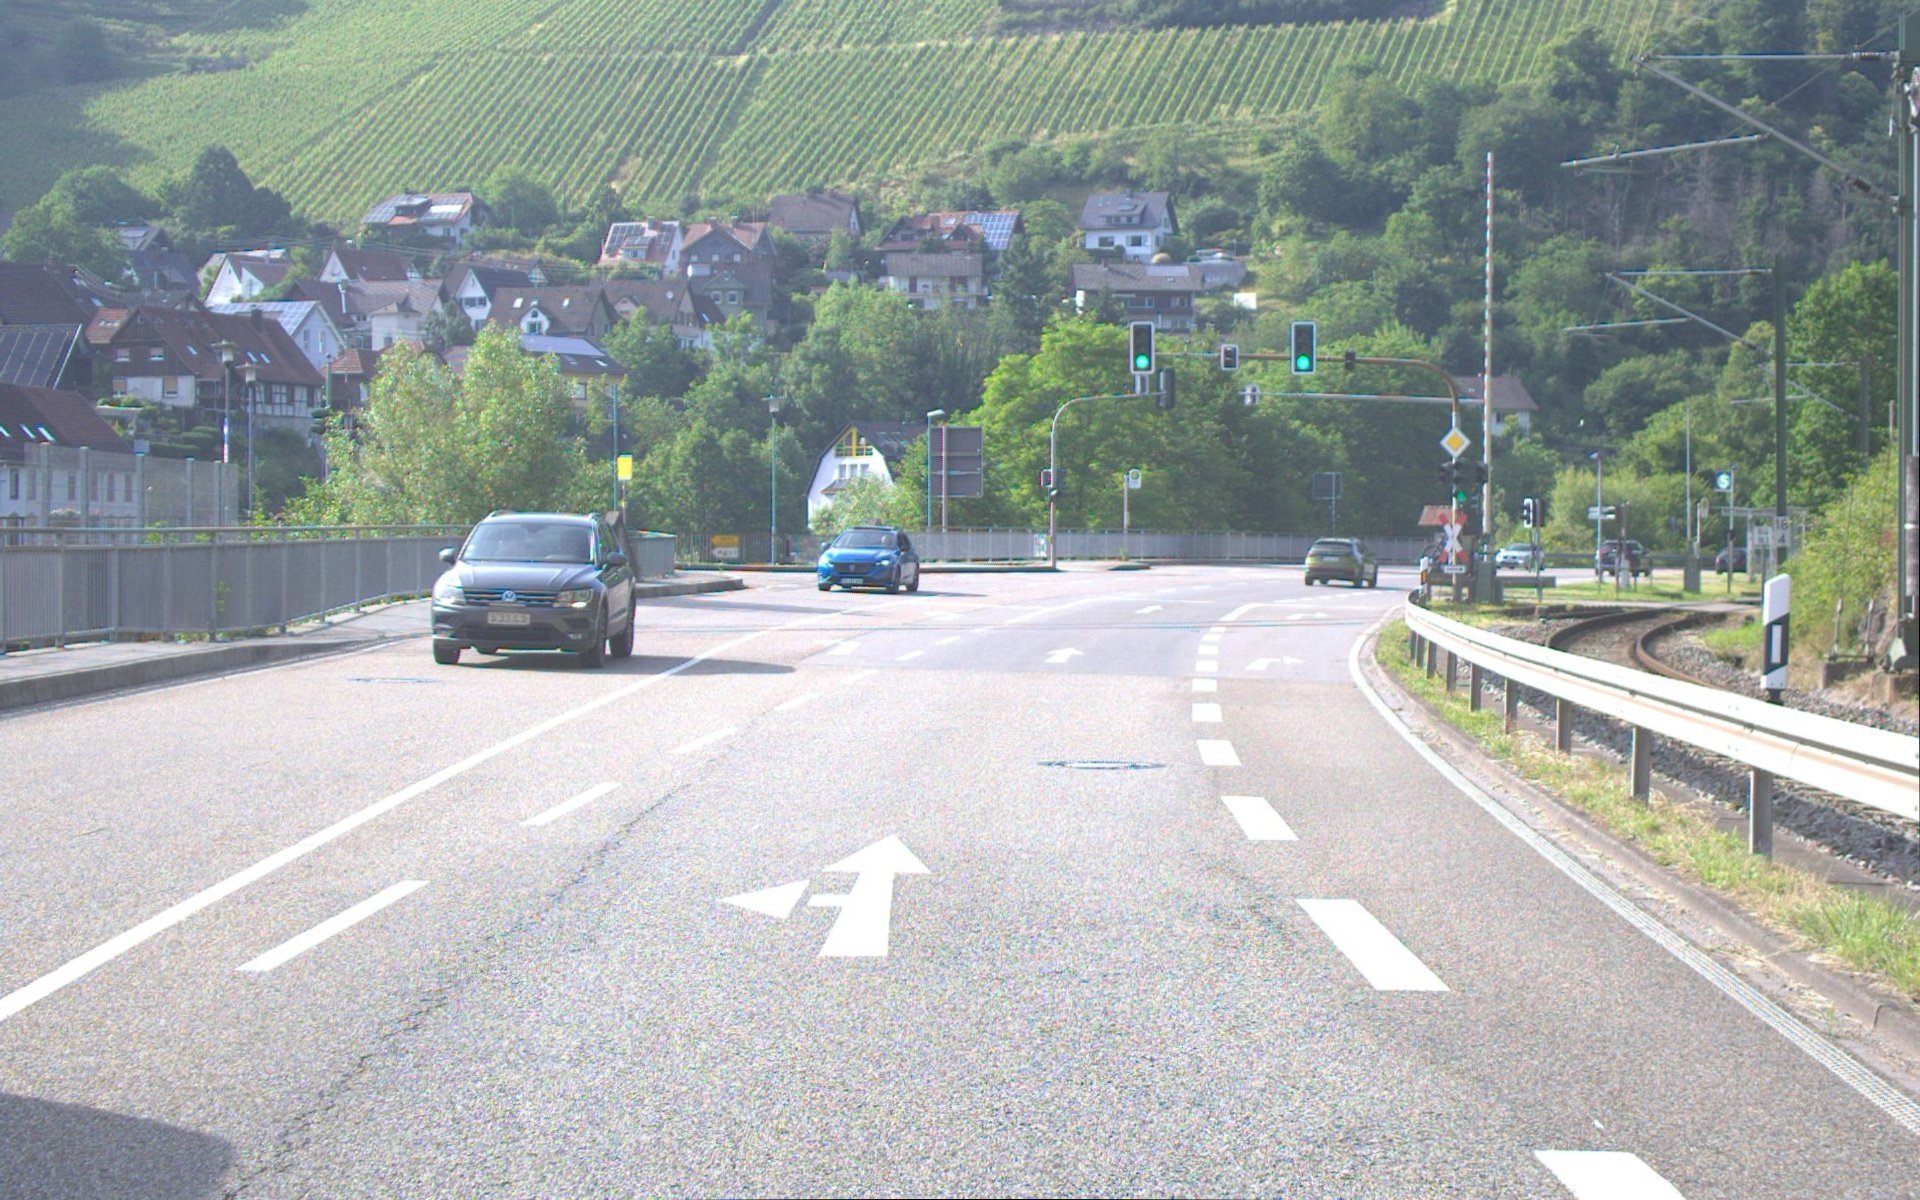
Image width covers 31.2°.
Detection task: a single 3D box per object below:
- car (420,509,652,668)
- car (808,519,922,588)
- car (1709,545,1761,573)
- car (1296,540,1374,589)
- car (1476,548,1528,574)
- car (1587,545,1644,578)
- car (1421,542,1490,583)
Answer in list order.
[{"bbox_3d":[-4.671,-0.162,38.482,1.817,1.641,4.612,1,1,2],"label":"car"},{"bbox_3d":[-2.132,-1.064,78.474,1.783,1.477,4.524,2,1,9],"label":"car"},{"bbox_3d":[39.973,-2.128,177.266,1.811,1.403,3.768,0,0,26],"label":"car"},{"bbox_3d":[11.490,-1.079,105.181,1.730,1.452,3.407,0,0,18],"label":"car"},{"bbox_3d":[26.515,-1.907,168.041,1.647,1.227,4.089,2,2,21],"label":"car"},{"bbox_3d":[29.524,-1.705,154.767,1.809,1.448,3.643,0,0,23],"label":"car"},{"bbox_3d":[18.165,-1.358,125.827,1.842,1.454,3.709,0,0,19],"label":"car"}]
